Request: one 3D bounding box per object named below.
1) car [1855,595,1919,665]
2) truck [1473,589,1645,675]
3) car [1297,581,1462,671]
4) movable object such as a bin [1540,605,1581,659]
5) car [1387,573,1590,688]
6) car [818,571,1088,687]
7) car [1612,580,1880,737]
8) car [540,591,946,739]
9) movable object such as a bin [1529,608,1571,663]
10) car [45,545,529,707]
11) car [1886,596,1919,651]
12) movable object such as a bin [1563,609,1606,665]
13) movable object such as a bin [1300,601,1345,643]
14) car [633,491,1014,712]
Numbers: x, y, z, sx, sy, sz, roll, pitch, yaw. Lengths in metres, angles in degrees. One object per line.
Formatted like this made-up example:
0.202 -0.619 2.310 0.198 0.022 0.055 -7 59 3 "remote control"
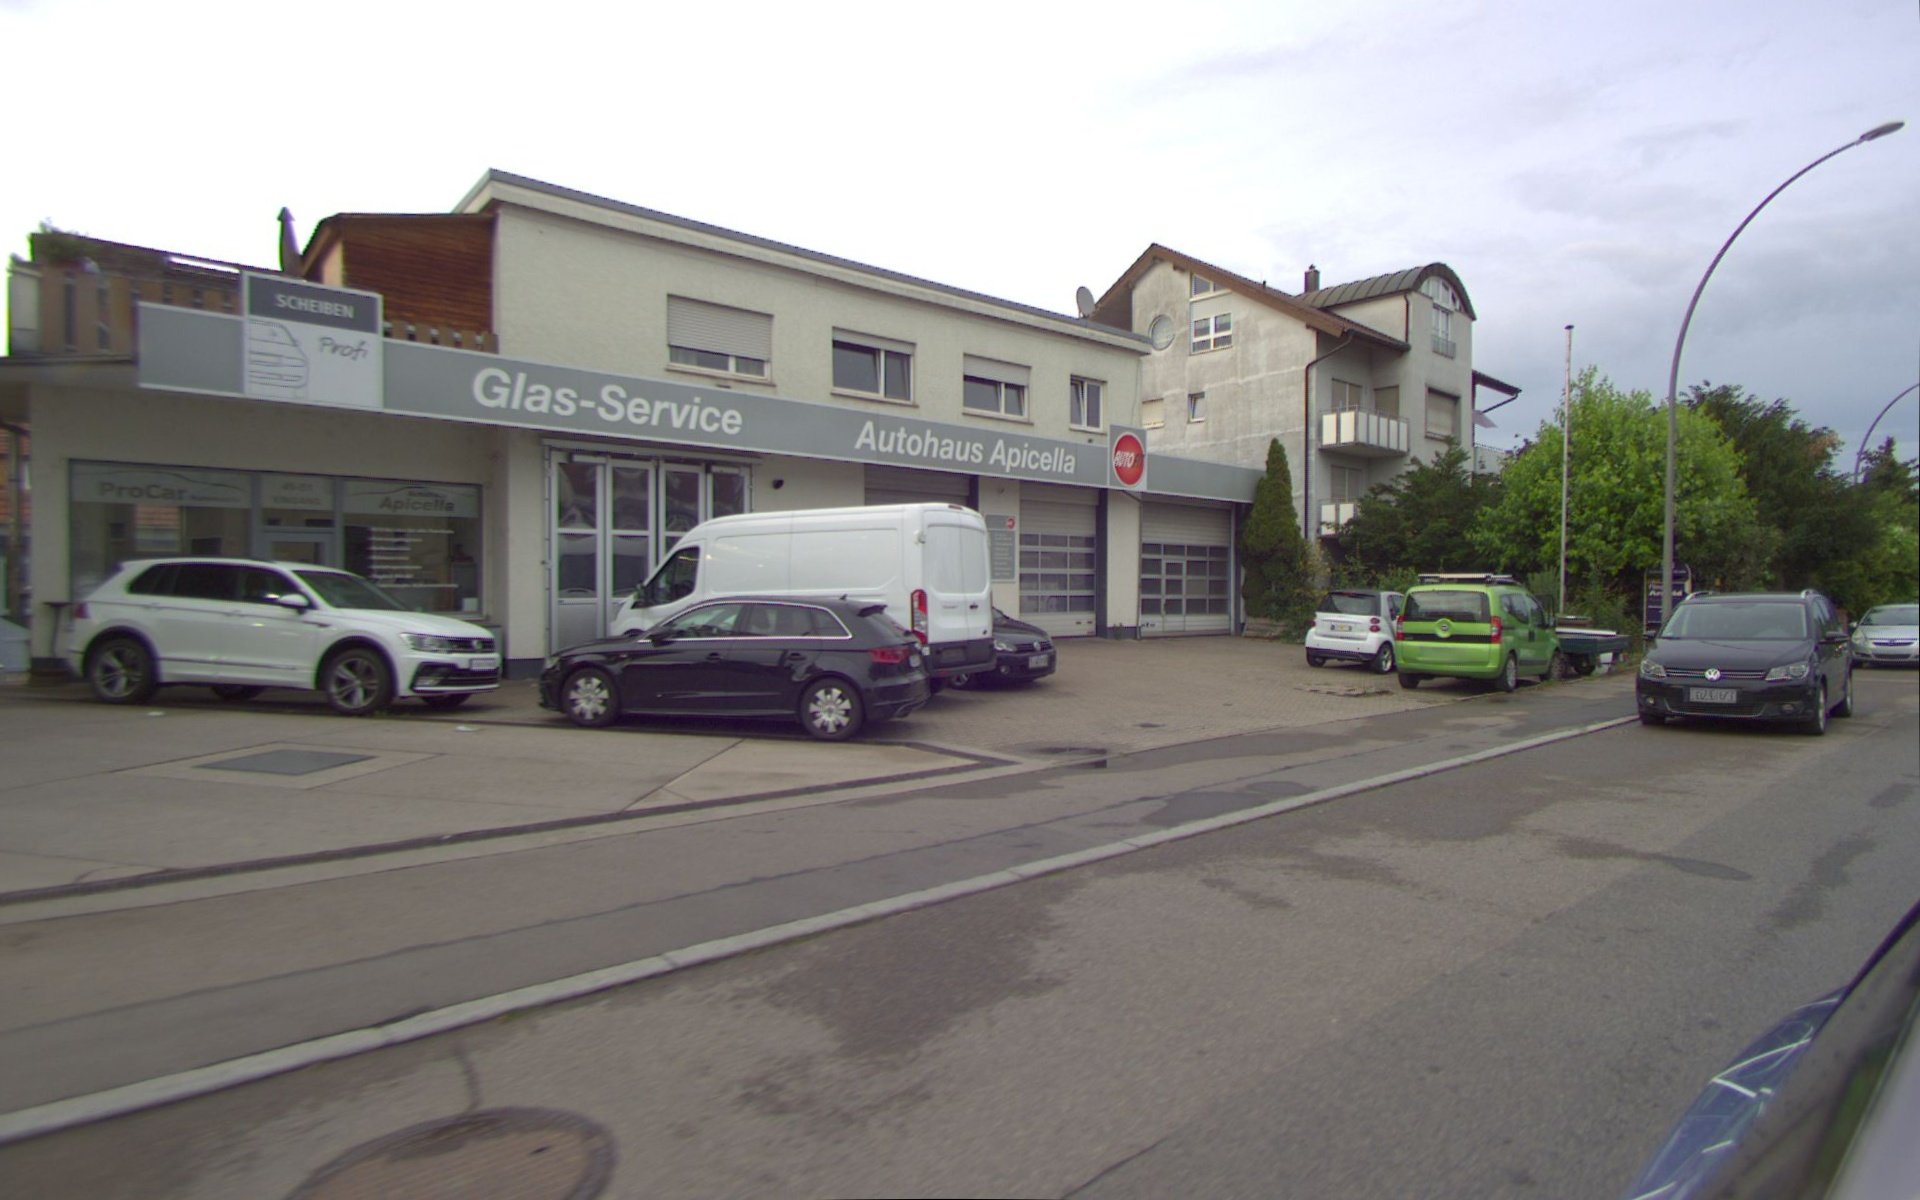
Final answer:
22.209 0.652 23.349 3.811 1.521 1.741 0 -1 -40 "car"
11.594 0.577 19.685 1.300 1.549 2.564 2 -1 -33 "truck"
8.488 0.459 20.340 1.749 1.538 3.672 5 4 45 "car"
12.750 0.666 21.478 0.670 1.088 0.575 0 1 -42 "movable object such as a bin"
8.994 0.438 17.094 1.994 1.704 3.936 1 1 44 "car"
-0.234 0.360 16.152 1.866 1.593 4.304 0 1 -44 "car"
9.890 0.603 12.636 3.932 1.616 1.996 0 1 -42 "car"
-2.235 0.616 10.937 3.934 1.392 1.775 0 1 9 "car"
12.246 0.726 21.018 0.670 1.088 0.575 0 1 -42 "movable object such as a bin"
-7.480 0.251 11.563 4.282 1.662 1.999 0 0 3 "car"
26.241 0.611 27.088 3.653 1.421 1.740 0 -1 -41 "car"
12.688 0.747 20.575 0.670 1.088 0.575 0 1 -42 "movable object such as a bin"
9.673 0.585 27.017 0.746 1.092 0.859 -1 0 -42 "movable object such as a bin"
-1.889 -0.030 13.806 4.759 2.552 2.226 1 0 28 "car"
